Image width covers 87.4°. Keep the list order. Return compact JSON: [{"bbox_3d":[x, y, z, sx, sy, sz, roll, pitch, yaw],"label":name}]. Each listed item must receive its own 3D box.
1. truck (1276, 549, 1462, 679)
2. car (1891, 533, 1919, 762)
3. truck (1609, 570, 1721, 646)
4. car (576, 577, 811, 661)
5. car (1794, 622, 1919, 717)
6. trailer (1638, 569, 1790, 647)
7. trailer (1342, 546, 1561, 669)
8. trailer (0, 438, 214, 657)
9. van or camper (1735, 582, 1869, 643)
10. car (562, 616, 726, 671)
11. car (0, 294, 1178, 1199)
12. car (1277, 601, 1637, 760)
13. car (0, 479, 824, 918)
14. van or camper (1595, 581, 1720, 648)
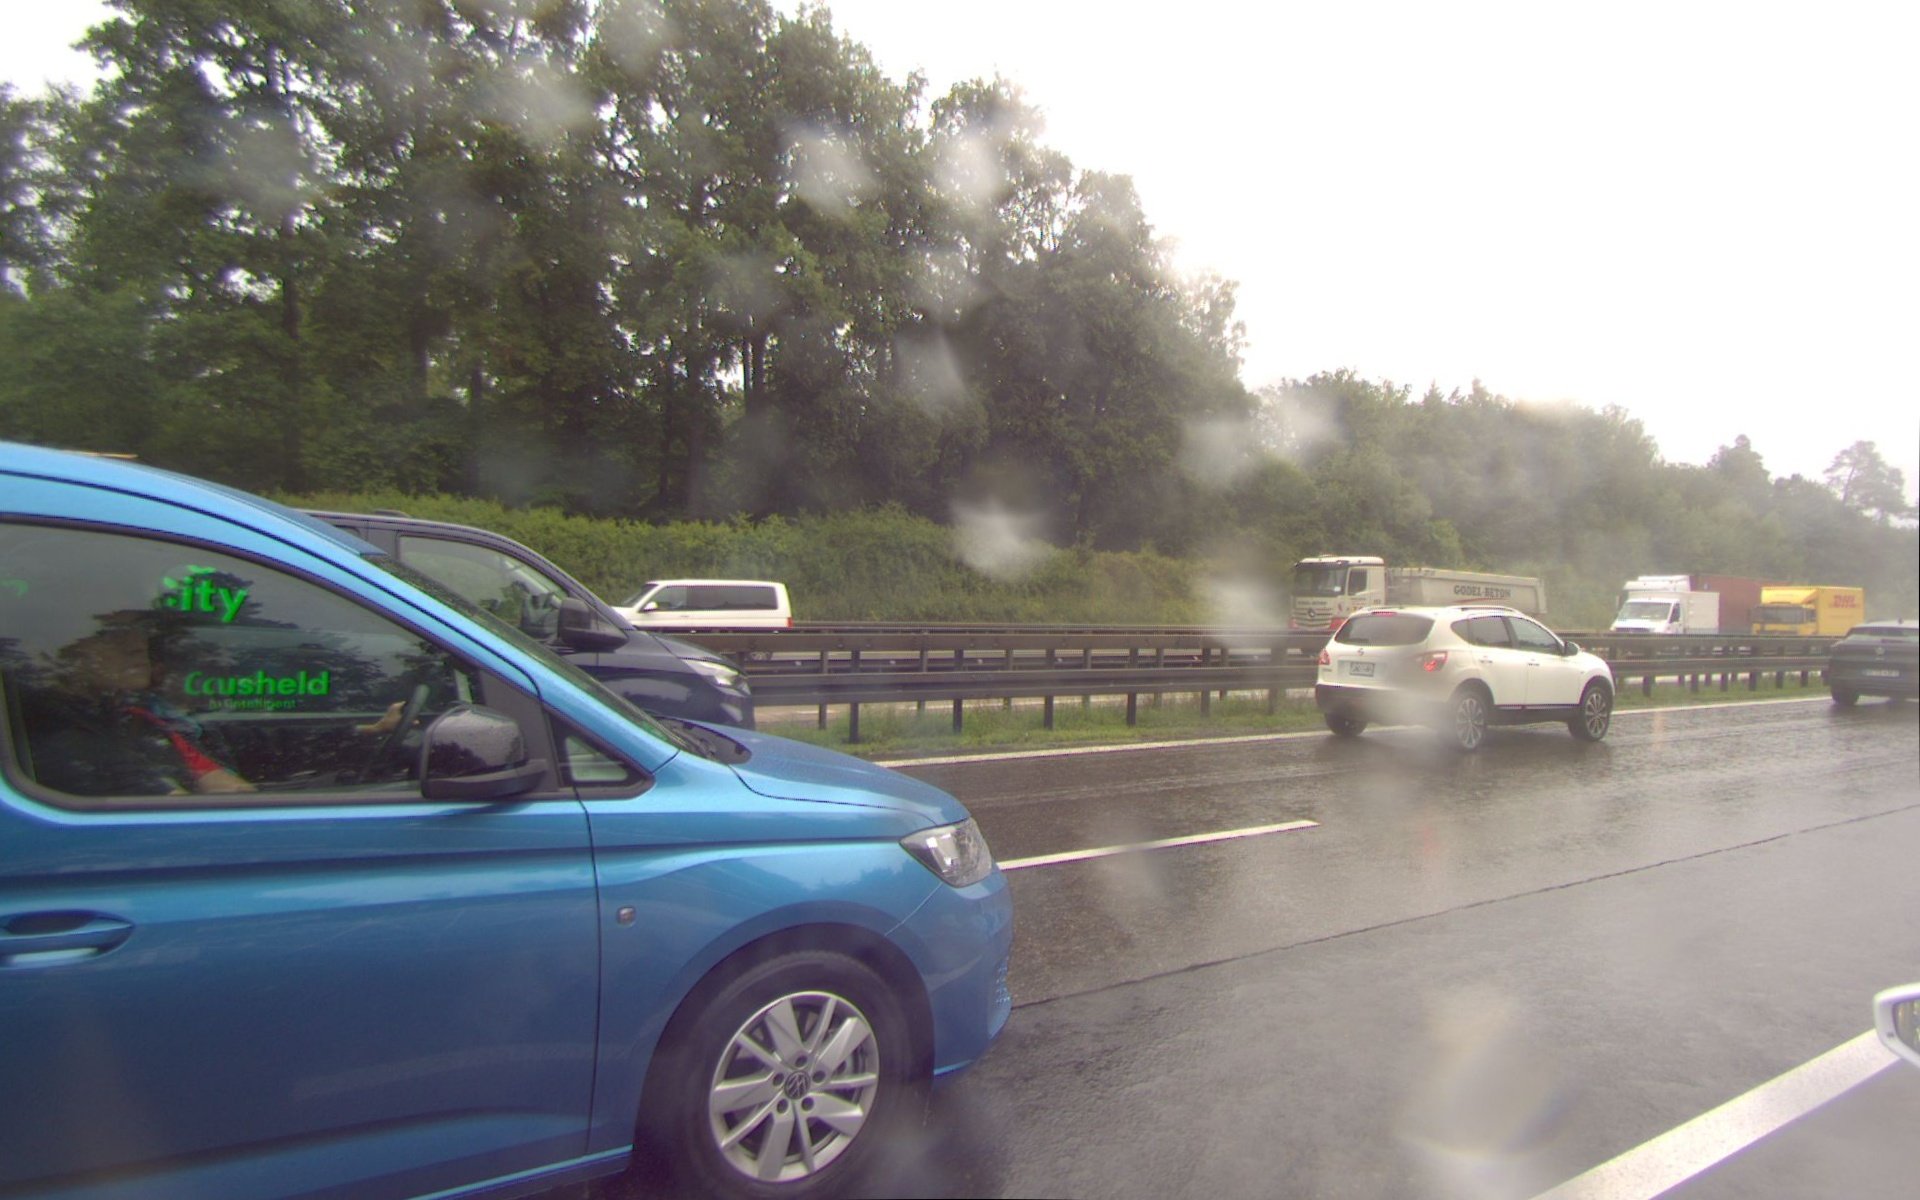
[{"bbox_3d":[13.760,0.516,33.664,6.461,4.006,2.366,1,-1,-31],"label":"truck"},{"bbox_3d":[13.499,0.585,12.015,4.959,2.607,2.201,1,0,-32],"label":"car"},{"bbox_3d":[37.629,0.451,53.575,6.194,3.869,2.689,1,0,-32],"label":"truck"},{"bbox_3d":[-6.197,0.439,23.585,4.985,1.793,1.982,1,-1,-33],"label":"car"},{"bbox_3d":[18.148,1.255,19.337,4.414,1.613,1.837,1,0,-30],"label":"car"},{"bbox_3d":[42.886,0.545,56.899,12.236,4.079,2.605,1,0,-32],"label":"trailer"},{"bbox_3d":[17.794,0.350,36.075,9.313,4.006,2.365,1,-1,-31],"label":"trailer"},{"bbox_3d":[-21.783,-1.018,17.470,13.795,4.006,2.707,1,-2,-30],"label":"trailer"},{"bbox_3d":[45.180,0.707,53.803,8.686,3.018,2.827,1,0,-31],"label":"van or camper"},{"bbox_3d":[-8.412,1.148,26.747,3.948,1.362,1.796,1,-1,-27],"label":"car"},{"bbox_3d":[-2.108,0.474,2.576,4.954,1.937,2.260,1,0,-29],"label":"car"},{"bbox_3d":[6.097,0.855,12.200,4.415,1.613,1.836,1,0,-31],"label":"car"},{"bbox_3d":[-3.610,0.463,6.003,5.178,1.970,1.983,1,0,-29],"label":"car"},{"bbox_3d":[28.710,0.590,41.280,6.054,2.581,2.185,1,-1,-34],"label":"van or camper"}]
